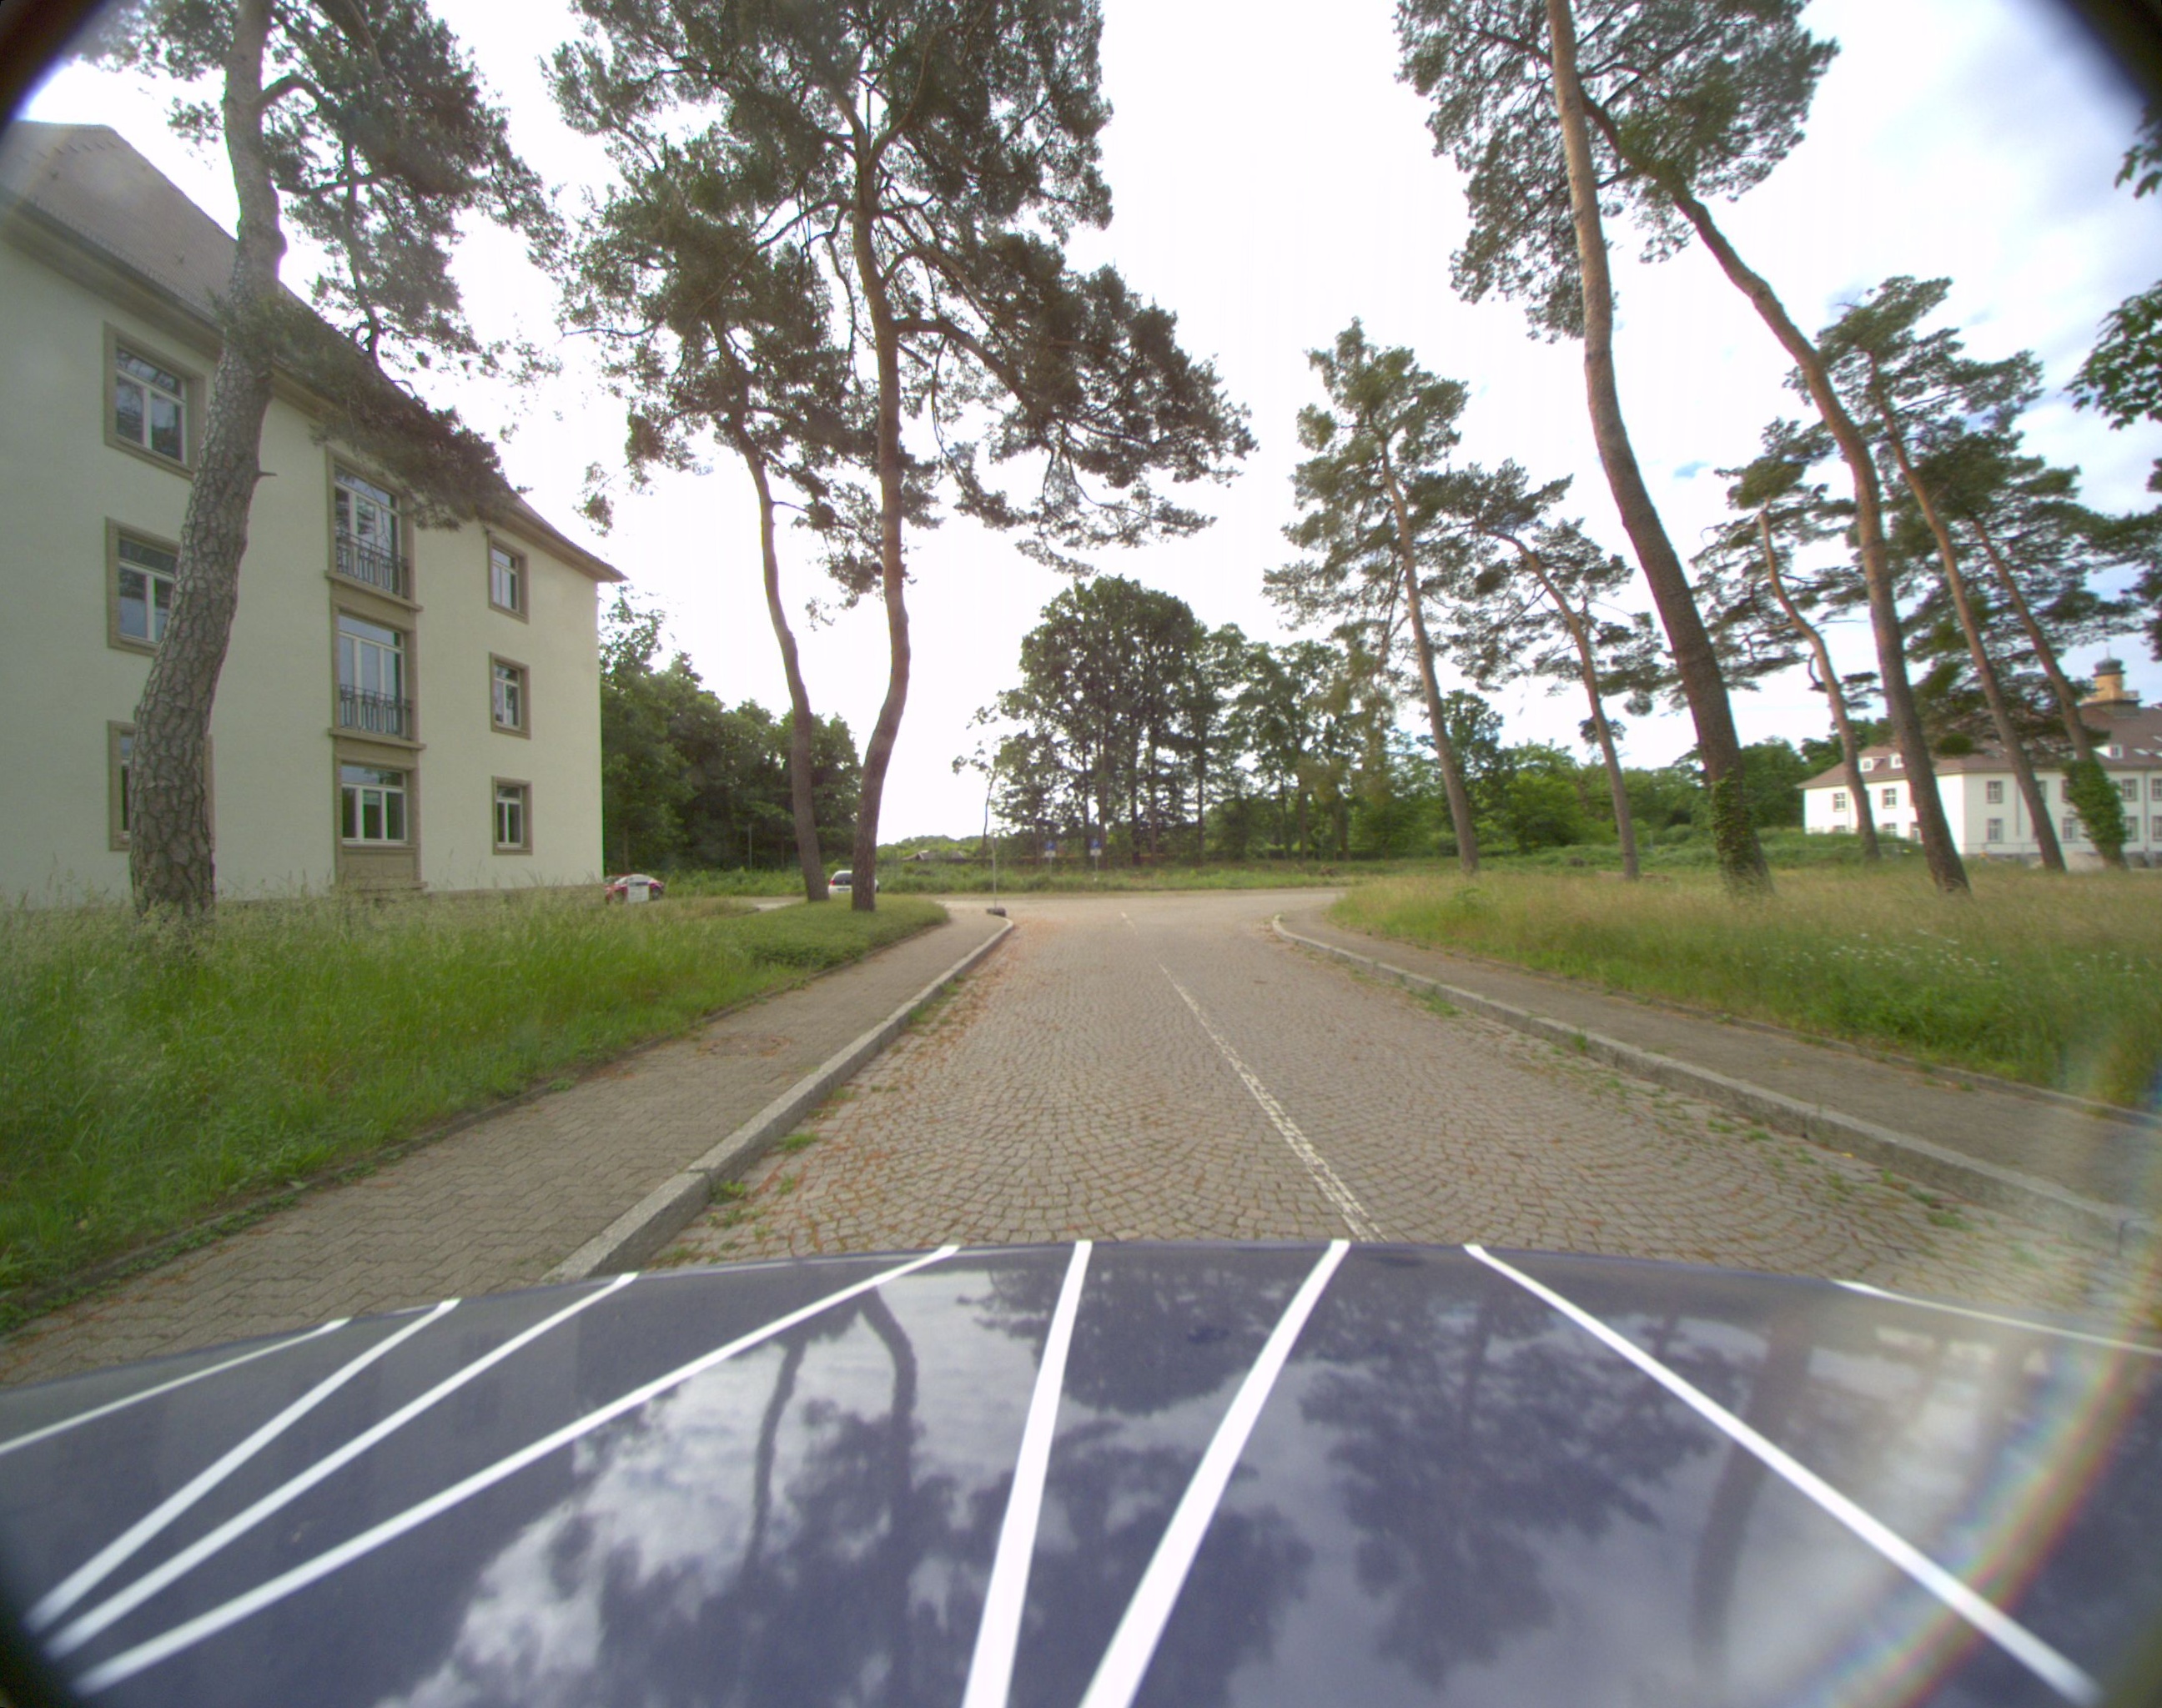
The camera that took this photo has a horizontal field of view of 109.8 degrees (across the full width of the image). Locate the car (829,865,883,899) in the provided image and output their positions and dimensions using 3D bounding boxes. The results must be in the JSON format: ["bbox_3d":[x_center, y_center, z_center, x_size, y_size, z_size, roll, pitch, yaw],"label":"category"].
[{"bbox_3d":[-11.130,1.377,37.836,1.641,1.426,3.277,-1,2,1],"label":"car"}]

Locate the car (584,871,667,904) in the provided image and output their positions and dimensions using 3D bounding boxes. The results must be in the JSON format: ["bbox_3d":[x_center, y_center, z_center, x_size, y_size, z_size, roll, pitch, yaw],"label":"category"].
[{"bbox_3d":[-22.434,1.617,37.620,1.641,1.321,3.999,-1,2,1],"label":"car"}]
